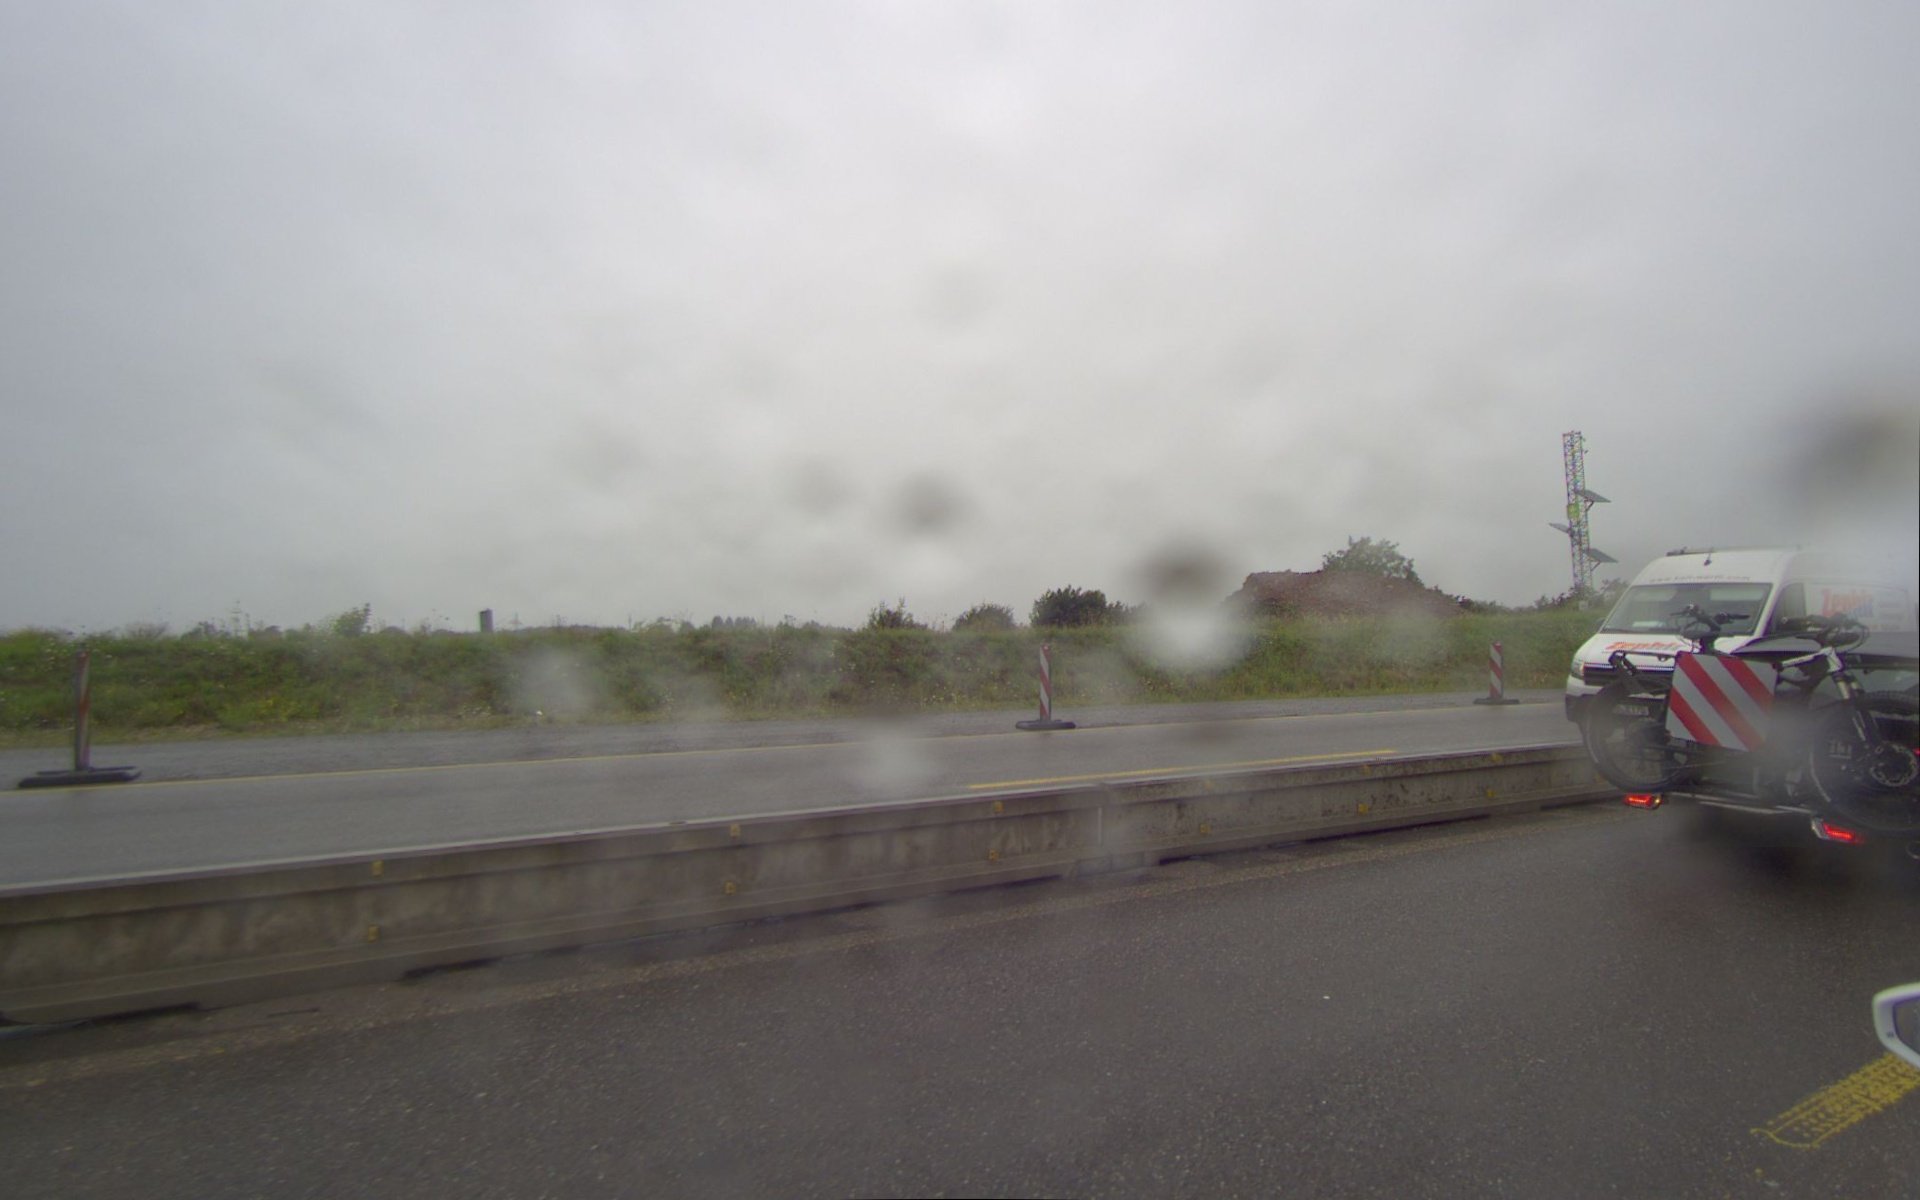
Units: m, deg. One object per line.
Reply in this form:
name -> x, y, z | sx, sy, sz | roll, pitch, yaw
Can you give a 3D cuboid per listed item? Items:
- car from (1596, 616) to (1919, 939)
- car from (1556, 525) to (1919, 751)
car -> 6.755, 0.883, 6.787 | 5.560, 1.482, 1.727 | 0, 0, -29
car -> 10.929, 0.498, 13.867 | 5.887, 2.582, 2.015 | 1, -2, -30
